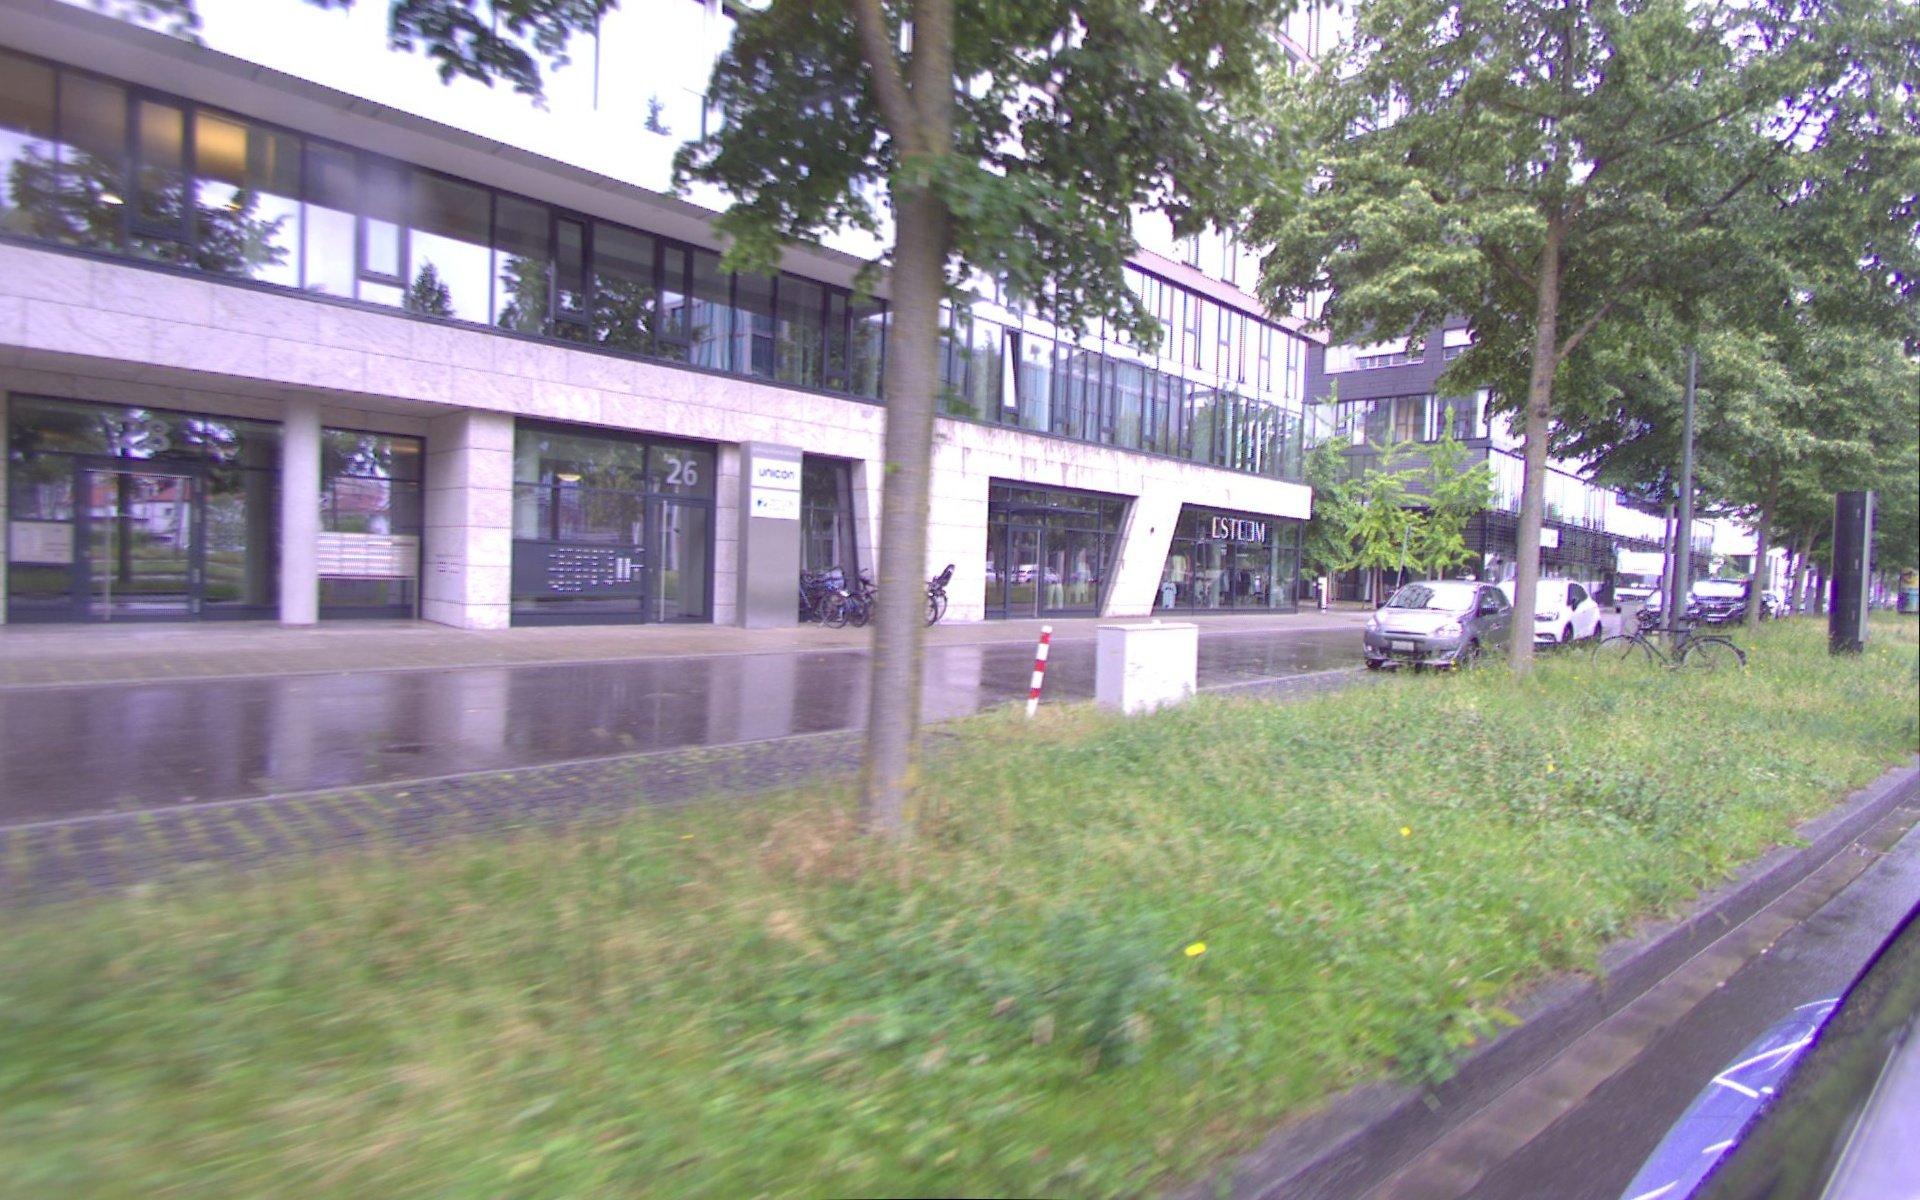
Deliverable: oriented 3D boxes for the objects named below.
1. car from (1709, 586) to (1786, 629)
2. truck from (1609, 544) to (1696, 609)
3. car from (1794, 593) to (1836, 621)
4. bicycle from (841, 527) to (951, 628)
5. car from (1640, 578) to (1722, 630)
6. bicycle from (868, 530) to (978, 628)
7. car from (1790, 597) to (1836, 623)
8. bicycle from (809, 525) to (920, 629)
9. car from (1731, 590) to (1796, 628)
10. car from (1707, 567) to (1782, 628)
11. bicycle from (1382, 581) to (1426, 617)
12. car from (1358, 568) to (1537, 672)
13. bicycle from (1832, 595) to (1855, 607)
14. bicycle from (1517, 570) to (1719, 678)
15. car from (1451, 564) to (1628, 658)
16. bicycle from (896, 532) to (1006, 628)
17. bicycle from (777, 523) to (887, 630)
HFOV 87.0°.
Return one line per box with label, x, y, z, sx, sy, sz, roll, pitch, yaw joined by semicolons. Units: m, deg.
car;33.370;0.328;42.842;1.994;1.690;4.877;1;0;45
truck;40.264;-1.361;58.748;3.023;3.483;8.418;3;2;42
car;56.189;0.447;66.470;1.762;1.616;4.033;3;0;45
bicycle;-1.315;-0.477;20.034;0.694;1.883;2.686;1;2;-40
car;23.772;0.097;33.298;1.953;1.531;4.420;3;2;38
bicycle;-0.801;-0.463;20.615;0.694;1.883;2.686;1;2;-40
car;52.302;0.579;62.006;1.993;1.462;5.158;3;2;42
bicycle;-1.886;-0.477;19.504;0.694;1.883;2.686;1;2;-40
car;37.884;0.436;47.672;1.994;1.690;4.648;1;0;44
car;28.866;-0.052;37.180;1.991;1.977;4.956;3;0;39
bicycle;14.548;-0.030;33.137;2.029;1.144;0.519;0;2;-43
car;8.216;0.315;16.918;1.626;1.509;3.597;3;1;44
bicycle;72.220;0.089;82.738;0.424;0.928;1.465;3;0;-13
bicycle;8.178;0.257;12.661;0.483;1.211;2.037;0;3;-44
car;12.066;0.261;20.923;1.995;1.690;4.646;3;0;45
bicycle;-0.231;-0.456;21.107;0.694;1.883;2.686;1;2;-40
bicycle;-2.454;-0.481;19.039;0.694;1.883;2.686;1;2;-40
